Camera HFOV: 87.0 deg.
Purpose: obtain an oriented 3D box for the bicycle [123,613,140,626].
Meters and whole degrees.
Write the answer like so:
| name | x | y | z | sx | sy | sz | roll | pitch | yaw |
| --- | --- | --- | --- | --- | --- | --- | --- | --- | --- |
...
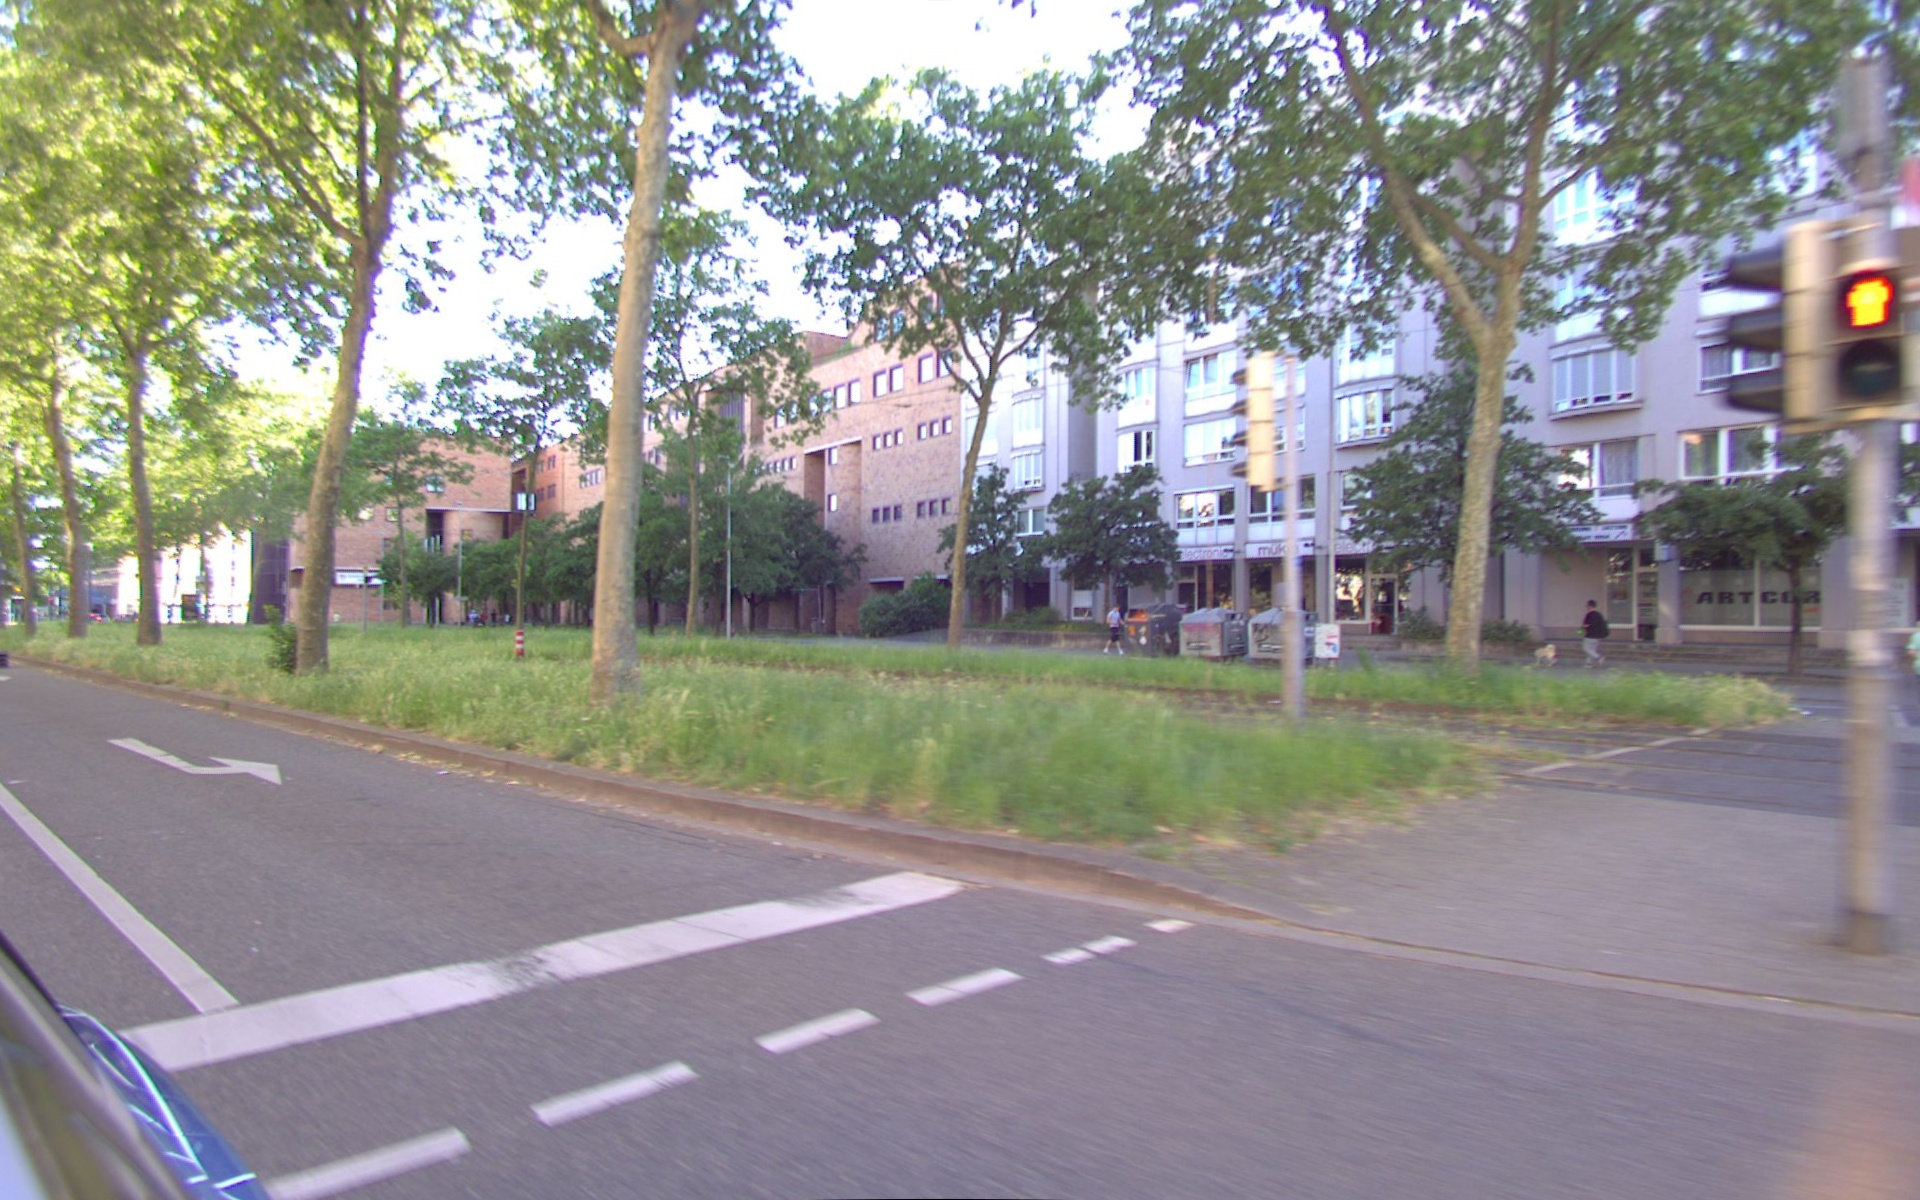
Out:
| name | x | y | z | sx | sy | sz | roll | pitch | yaw |
| --- | --- | --- | --- | --- | --- | --- | --- | --- | --- |
| bicycle | -79.967 | 1.873 | 97.658 | 2.436 | 1.134 | 0.946 | 0 | -1 | 42 |

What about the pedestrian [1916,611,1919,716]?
| name | x | y | z | sx | sy | sz | roll | pitch | yaw |
| --- | --- | --- | --- | --- | --- | --- | --- | --- | --- |
| pedestrian | 14.128 | 0.909 | 14.473 | 0.610 | 1.515 | 0.536 | 0 | -1 | -35 |

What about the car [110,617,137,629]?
| name | x | y | z | sx | sy | sz | roll | pitch | yaw |
| --- | --- | --- | --- | --- | --- | --- | --- | --- | --- |
| car | -94.947 | 2.602 | 114.888 | 4.147 | 1.440 | 1.653 | -1 | -2 | 41 |

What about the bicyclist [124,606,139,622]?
| name | x | y | z | sx | sy | sz | roll | pitch | yaw |
| --- | --- | --- | --- | --- | --- | --- | --- | --- | --- |
| bicyclist | -79.891 | 1.331 | 97.616 | 1.209 | 1.583 | 0.931 | -1 | -2 | 42 |

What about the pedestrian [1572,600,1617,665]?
| name | x | y | z | sx | sy | sz | roll | pitch | yaw |
| --- | --- | --- | --- | --- | --- | --- | --- | --- | --- |
| pedestrian | 16.428 | 0.841 | 26.211 | 0.698 | 1.651 | 0.790 | 1 | -1 | -37 |

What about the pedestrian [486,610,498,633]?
| name | x | y | z | sx | sy | sz | roll | pitch | yaw |
| --- | --- | --- | --- | --- | --- | --- | --- | --- | --- |
| pedestrian | -34.976 | 1.596 | 75.617 | 0.596 | 1.692 | 0.604 | -1 | -1 | 41 |

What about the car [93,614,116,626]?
| name | x | y | z | sx | sy | sz | roll | pitch | yaw |
| --- | --- | --- | --- | --- | --- | --- | --- | --- | --- |
| car | -105.118 | 2.491 | 124.346 | 3.219 | 1.440 | 1.596 | -1 | -2 | 41 |

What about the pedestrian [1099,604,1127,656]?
| name | x | y | z | sx | sy | sz | roll | pitch | yaw |
| --- | --- | --- | --- | --- | --- | --- | --- | --- | --- |
| pedestrian | 5.200 | 1.002 | 34.355 | 0.720 | 1.753 | 0.648 | 1 | -1 | -45 |

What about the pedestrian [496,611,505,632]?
| name | x | y | z | sx | sy | sz | roll | pitch | yaw |
| --- | --- | --- | --- | --- | --- | --- | --- | --- | --- |
| pedestrian | -34.411 | 1.607 | 75.778 | 0.462 | 1.517 | 0.479 | -1 | -1 | 35 |

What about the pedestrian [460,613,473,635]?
| name | x | y | z | sx | sy | sz | roll | pitch | yaw |
| --- | --- | --- | --- | --- | --- | --- | --- | --- | --- |
| pedestrian | -36.954 | 1.815 | 75.816 | 0.756 | 1.629 | 0.657 | -1 | -1 | 41 |

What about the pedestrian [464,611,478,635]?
| name | x | y | z | sx | sy | sz | roll | pitch | yaw |
| --- | --- | --- | --- | --- | --- | --- | --- | --- | --- |
| pedestrian | -36.084 | 1.669 | 74.623 | 0.796 | 1.735 | 0.657 | -1 | -1 | 41 |

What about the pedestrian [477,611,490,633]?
| name | x | y | z | sx | sy | sz | roll | pitch | yaw |
| --- | --- | --- | --- | --- | --- | --- | --- | --- | --- |
| pedestrian | -35.473 | 1.624 | 75.309 | 0.756 | 1.629 | 0.657 | -1 | -1 | 41 |

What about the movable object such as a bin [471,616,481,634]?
| name | x | y | z | sx | sy | sz | roll | pitch | yaw |
| --- | --- | --- | --- | --- | --- | --- | --- | --- | --- |
| movable object such as a bin | -35.467 | 1.817 | 74.139 | 0.756 | 1.289 | 0.352 | -1 | -1 | 41 |

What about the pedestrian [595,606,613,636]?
| name | x | y | z | sx | sy | sz | roll | pitch | yaw |
| --- | --- | --- | --- | --- | --- | --- | --- | --- | --- |
| pedestrian | -22.667 | 1.328 | 64.460 | 0.814 | 1.845 | 0.902 | 1 | -1 | -43 |
